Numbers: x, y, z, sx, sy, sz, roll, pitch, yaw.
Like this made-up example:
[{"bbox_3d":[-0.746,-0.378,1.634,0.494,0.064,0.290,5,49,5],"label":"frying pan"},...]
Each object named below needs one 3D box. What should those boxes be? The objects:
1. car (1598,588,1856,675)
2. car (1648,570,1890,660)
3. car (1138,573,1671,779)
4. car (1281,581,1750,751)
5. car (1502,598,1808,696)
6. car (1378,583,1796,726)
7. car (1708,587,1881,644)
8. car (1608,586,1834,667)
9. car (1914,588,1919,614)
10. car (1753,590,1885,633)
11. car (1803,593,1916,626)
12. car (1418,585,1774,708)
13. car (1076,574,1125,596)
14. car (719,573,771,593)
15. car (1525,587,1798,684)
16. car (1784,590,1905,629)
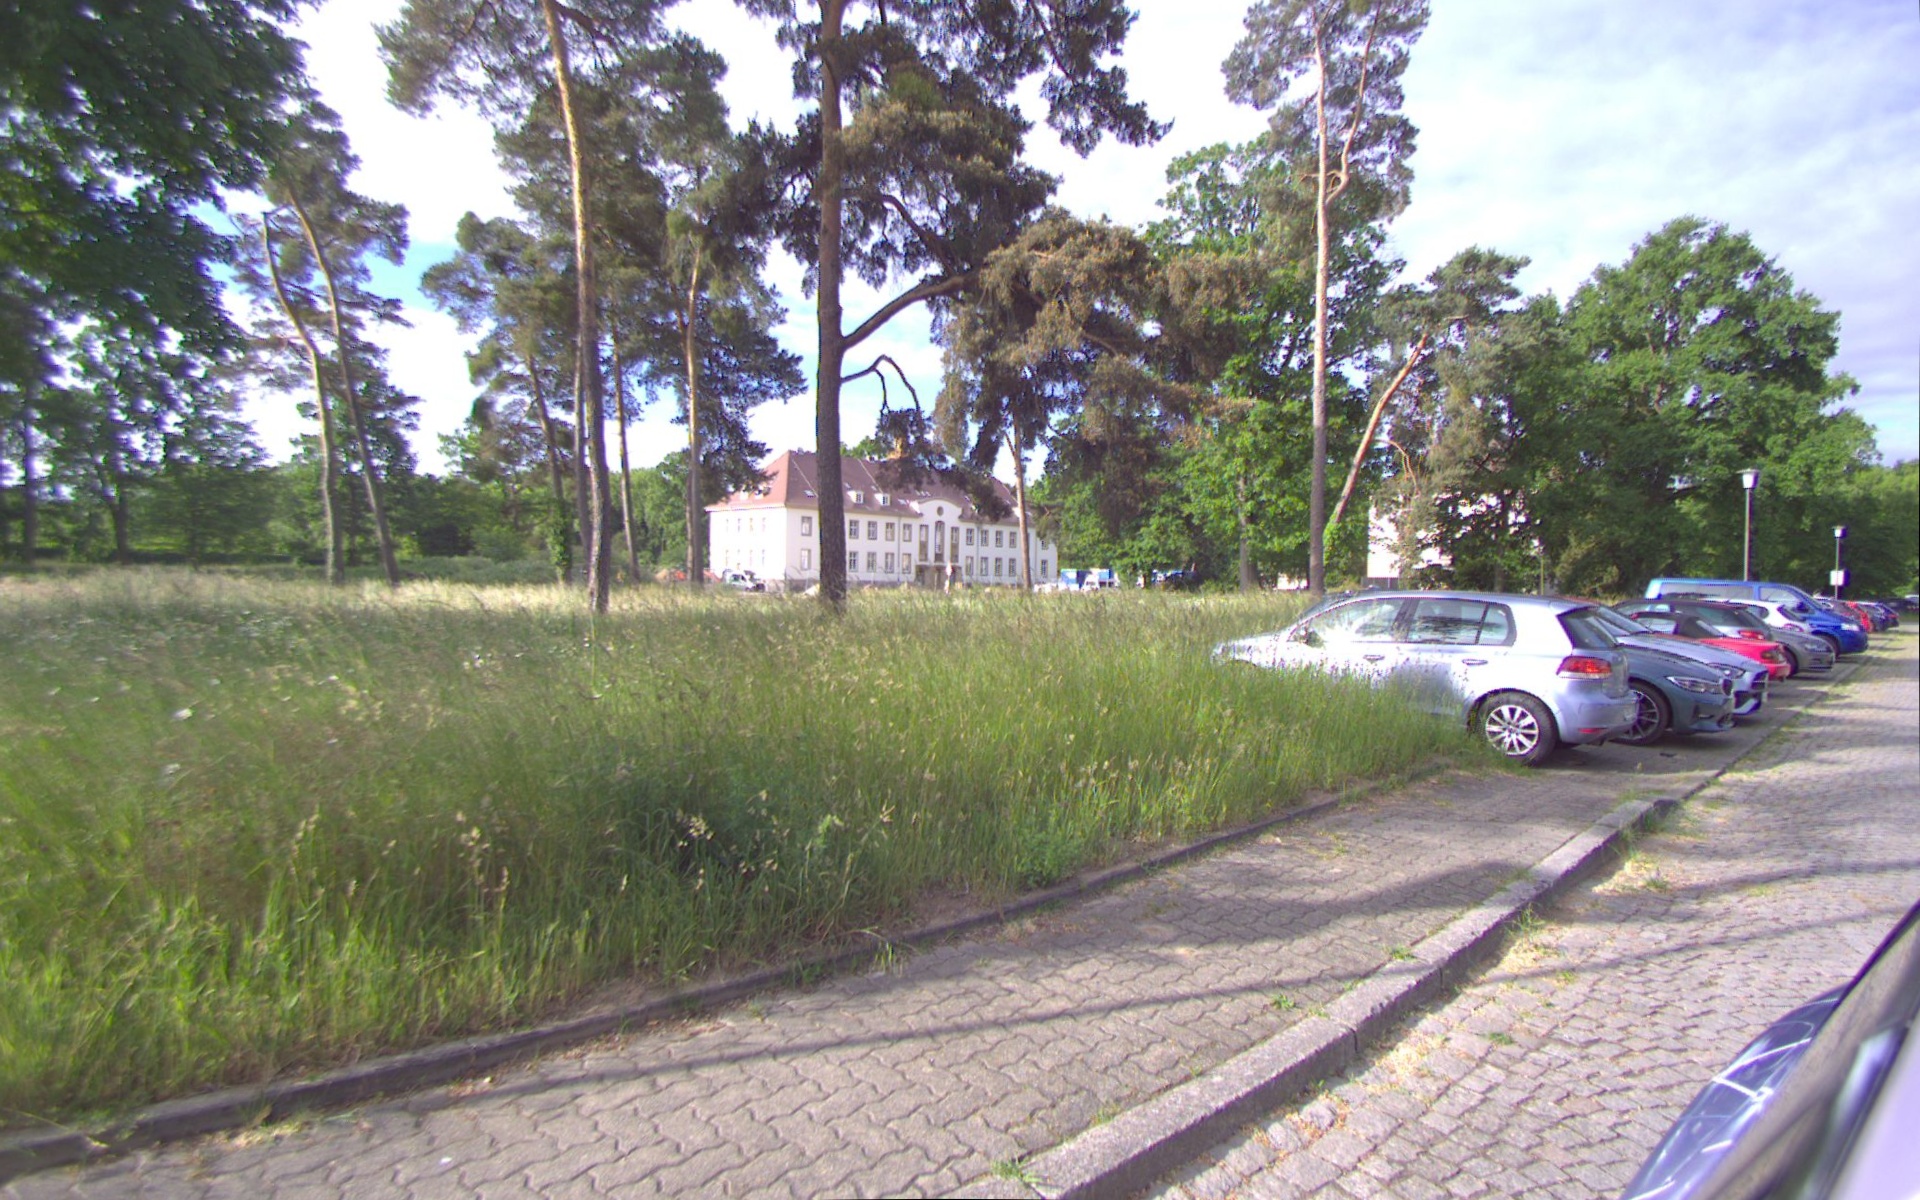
[{"bbox_3d":[15.531,0.554,20.629,1.801,1.485,3.954,-1,3,-44],"label":"car"},{"bbox_3d":[21.074,0.297,26.513,4.736,1.952,1.960,5,4,45],"label":"car"},{"bbox_3d":[4.245,0.539,10.201,4.544,1.524,1.903,3,3,44],"label":"car"},{"bbox_3d":[6.292,0.586,11.802,4.504,1.491,1.867,3,3,41],"label":"car"},{"bbox_3d":[11.501,0.695,16.924,1.698,1.276,3.954,-1,3,-44],"label":"car"},{"bbox_3d":[8.276,0.578,13.683,1.820,1.491,4.509,-1,3,-45],"label":"car"},{"bbox_3d":[27.039,0.445,32.889,4.192,1.608,1.848,3,3,44],"label":"car"},{"bbox_3d":[17.181,0.524,22.962,1.778,1.549,3.878,-1,3,-44],"label":"car"},{"bbox_3d":[80.972,0.128,82.138,1.968,2.066,5.068,0,1,-45],"label":"car"},{"bbox_3d":[34.043,0.414,40.165,3.879,1.491,1.660,4,3,44],"label":"car"},{"bbox_3d":[44.698,0.437,50.351,1.753,1.468,4.032,-1,3,-42],"label":"car"},{"bbox_3d":[9.597,0.581,15.526,1.712,1.491,4.344,-1,3,-45],"label":"car"},{"bbox_3d":[15.507,-1.598,111.534,5.861,2.328,2.165,0,2,-43],"label":"car"},{"bbox_3d":[-23.444,-1.889,110.150,5.637,2.038,2.597,1,2,39],"label":"car"},{"bbox_3d":[13.076,0.567,19.027,1.743,1.513,3.954,-1,3,-44],"label":"car"},{"bbox_3d":[41.262,0.398,47.256,4.128,1.588,1.719,3,3,45],"label":"car"}]
